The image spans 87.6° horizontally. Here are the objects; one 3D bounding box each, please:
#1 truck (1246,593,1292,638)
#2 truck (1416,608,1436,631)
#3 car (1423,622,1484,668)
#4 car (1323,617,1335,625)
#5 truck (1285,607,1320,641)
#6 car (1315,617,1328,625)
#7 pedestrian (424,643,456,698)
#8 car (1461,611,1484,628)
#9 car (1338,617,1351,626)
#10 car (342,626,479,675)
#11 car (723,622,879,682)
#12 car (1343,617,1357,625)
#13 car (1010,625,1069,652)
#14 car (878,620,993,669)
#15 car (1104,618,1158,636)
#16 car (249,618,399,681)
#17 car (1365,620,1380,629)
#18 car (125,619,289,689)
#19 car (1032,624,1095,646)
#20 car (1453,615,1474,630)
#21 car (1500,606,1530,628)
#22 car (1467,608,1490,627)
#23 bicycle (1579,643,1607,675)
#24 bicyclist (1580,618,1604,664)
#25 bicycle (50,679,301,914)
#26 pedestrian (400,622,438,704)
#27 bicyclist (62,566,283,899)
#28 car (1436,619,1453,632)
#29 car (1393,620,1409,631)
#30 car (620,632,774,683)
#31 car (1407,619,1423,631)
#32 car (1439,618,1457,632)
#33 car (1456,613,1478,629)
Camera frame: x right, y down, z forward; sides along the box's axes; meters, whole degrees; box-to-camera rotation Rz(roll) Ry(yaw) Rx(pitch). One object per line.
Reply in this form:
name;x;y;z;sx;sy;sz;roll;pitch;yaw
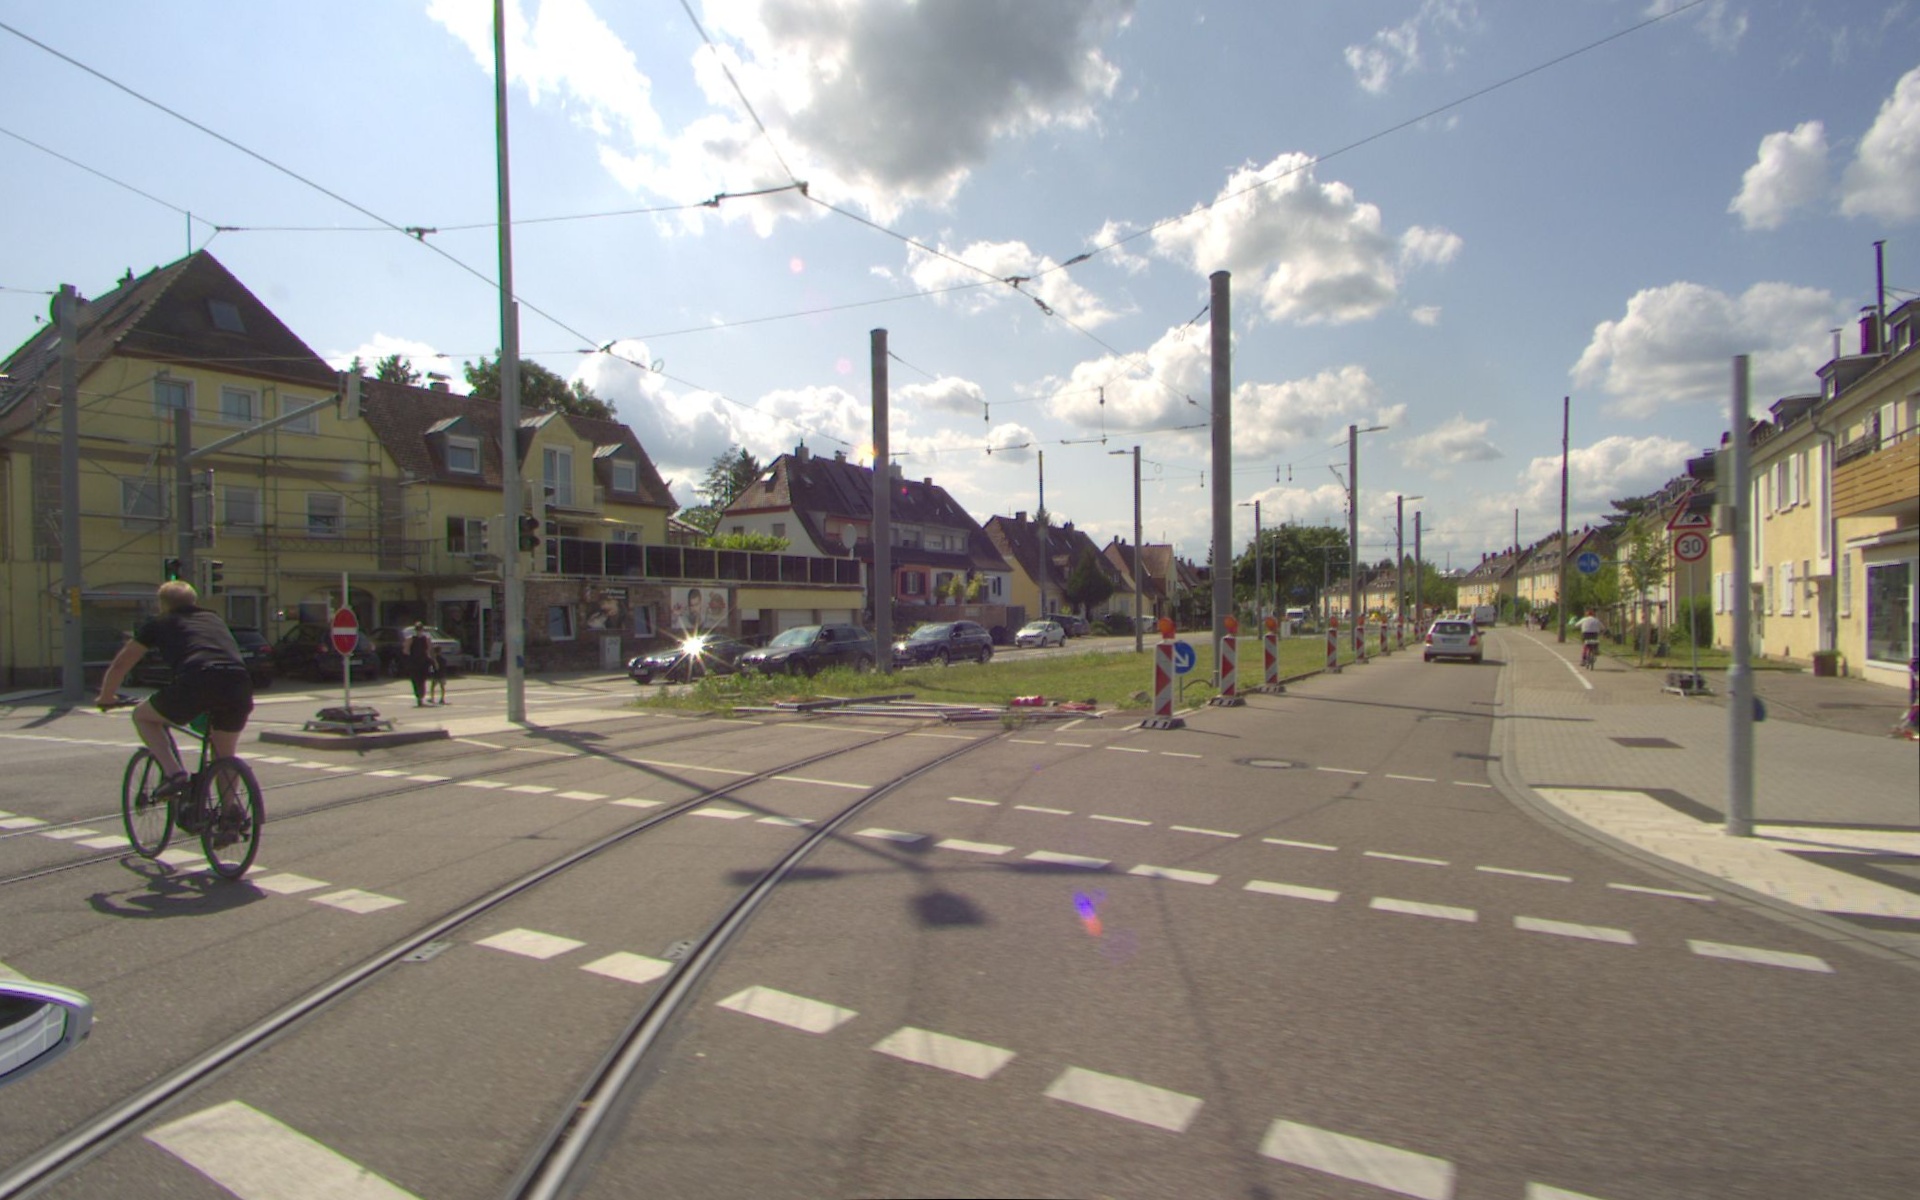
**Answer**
truck;28.508;1.486;92.158;2.473;3.873;7.613;-1;-3;29
truck;71.373;3.005;153.407;1.964;3.266;5.331;-1;-3;17
car;16.590;1.462;33.659;1.708;1.422;4.002;1;0;27
car;86.353;4.889;234.412;1.962;1.745;4.002;-1;-3;8
truck;39.313;2.823;114.808;2.345;3.581;8.499;-1;-3;29
car;87.265;5.103;241.711;1.962;1.745;4.002;-1;-3;8
pedestrian;-11.019;1.489;21.221;0.383;1.150;0.487;-1;-2;33
car;56.570;2.189;110.589;1.967;1.745;3.991;-1;-3;23
car;85.167;4.817;221.926;1.962;1.745;4.002;-1;-3;8
car;-16.297;1.500;29.665;4.074;1.368;1.864;-2;-3;33
car;-4.052;1.304;26.221;1.714;1.346;4.310;-2;-1;29
car;84.291;4.583;216.404;1.961;1.745;4.002;-1;-3;7
car;4.594;2.218;57.451;1.714;1.492;4.313;-2;-3;29
car;-0.691;1.377;31.850;1.714;1.346;4.310;-2;-1;29
car;14.957;2.347;87.564;4.258;1.492;1.948;-1;-3;24
car;-17.513;1.368;27.542;4.074;1.616;1.990;-2;-3;33
car;82.149;4.915;199.365;1.962;1.745;4.000;-1;-3;11
car;-18.864;1.355;25.055;4.074;1.616;1.990;-2;-3;33
car;7.524;2.565;73.035;4.259;1.492;1.735;-2;-3;25
car;61.581;2.760;122.463;1.967;1.745;3.991;-1;-3;23
car;47.661;1.445;86.040;1.968;1.745;3.989;-1;-3;26
car;53.488;1.838;103.337;1.968;1.745;3.989;-1;-3;26
bicycle;17.169;1.591;27.178;0.497;0.791;1.578;-1;-1;27
bicyclist;17.225;1.111;27.303;0.501;1.250;0.576;-1;-1;28
bicycle;-4.868;1.100;6.167;1.948;1.090;0.824;-1;1;40
pedestrian;-11.132;1.286;20.608;0.396;1.664;0.545;-2;-2;37
bicyclist;-4.811;0.726;6.113;1.071;1.818;0.824;0;1;40
car;67.729;3.613;140.053;1.967;1.745;3.991;-1;-3;23
car;77.416;4.462;175.797;1.963;1.745;3.999;-1;-3;13
car;-7.344;1.606;28.372;1.714;1.324;4.313;-2;-3;29
car;72.847;4.013;160.414;1.965;1.745;3.995;-1;-3;19
car;65.291;3.321;133.997;1.966;1.745;3.992;-1;-3;22
car;58.735;2.454;116.067;1.967;1.745;3.991;-1;-3;23
